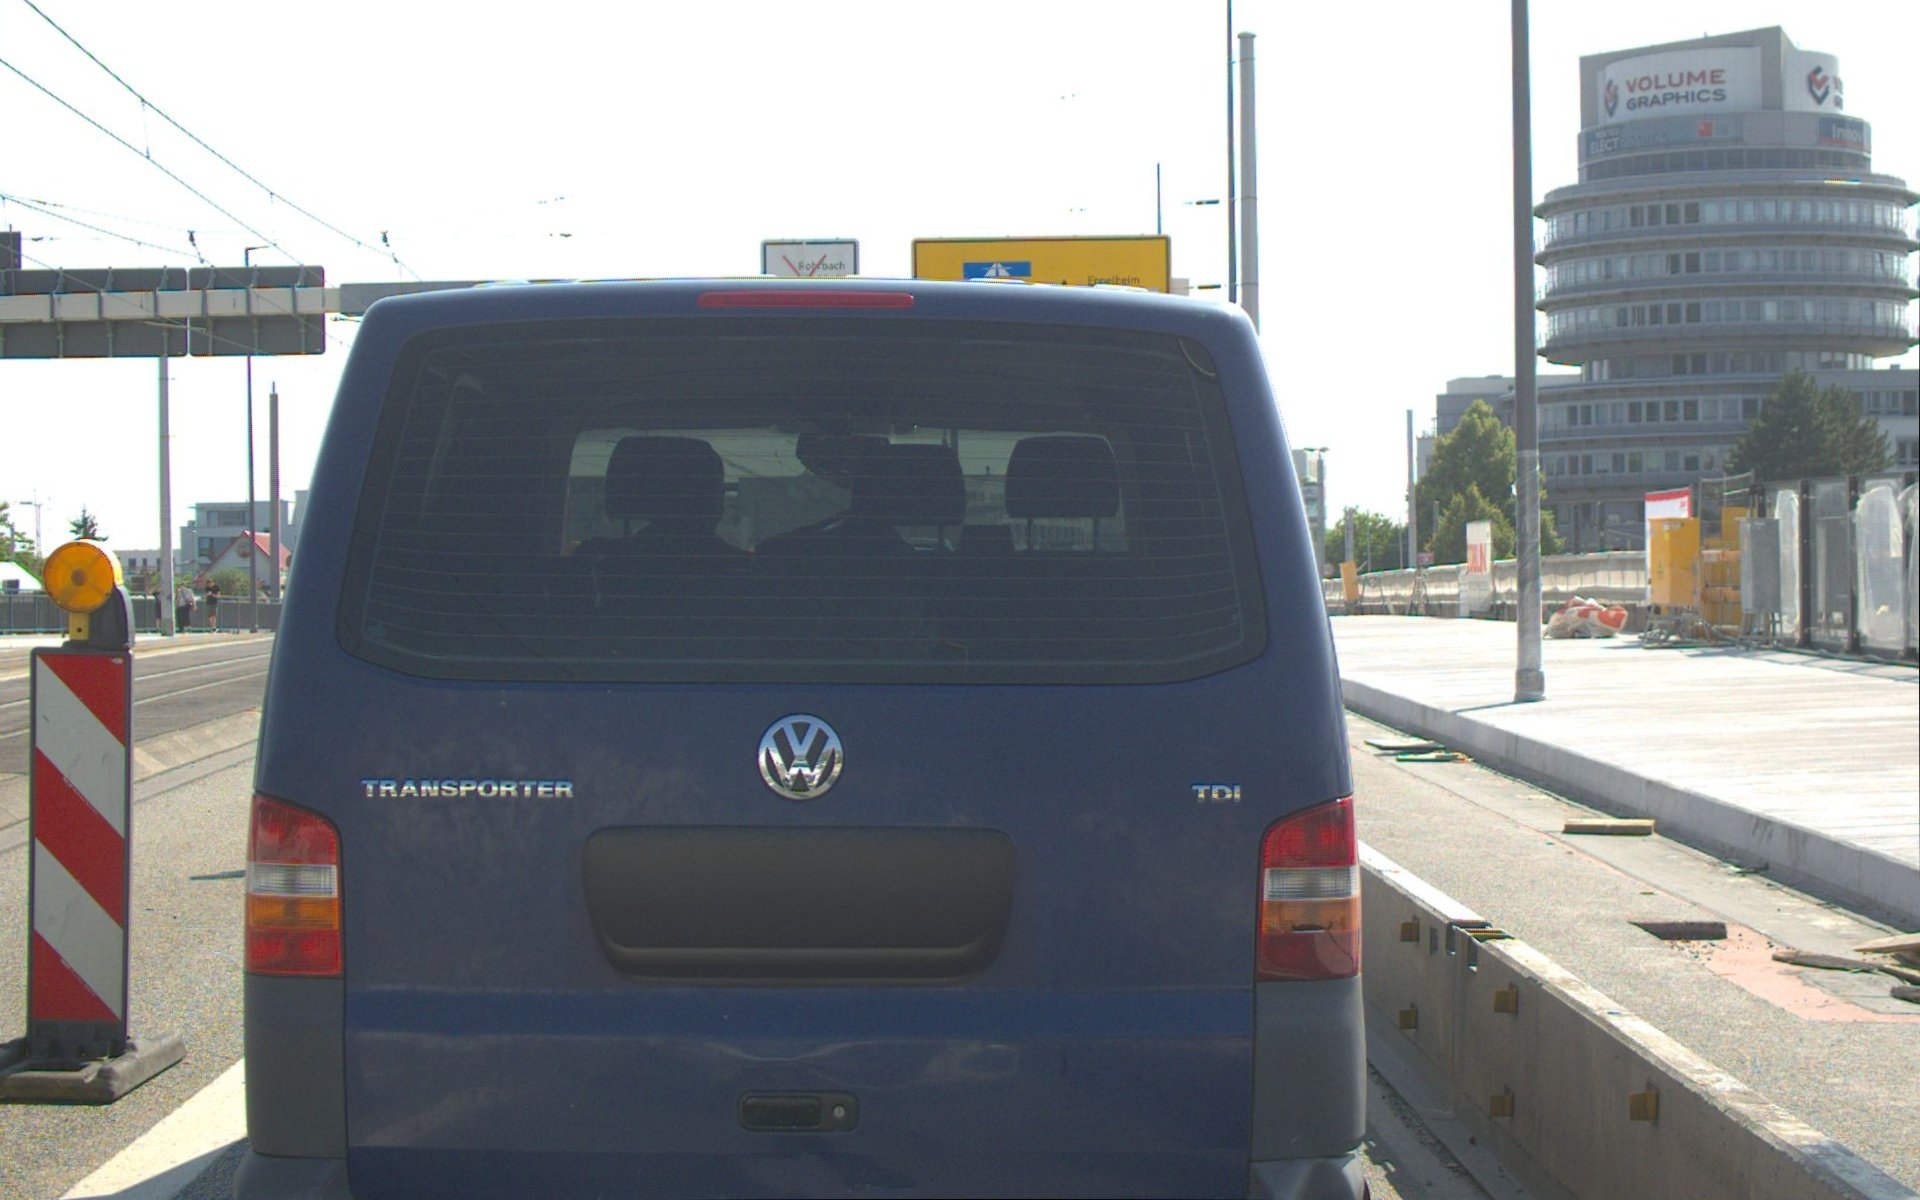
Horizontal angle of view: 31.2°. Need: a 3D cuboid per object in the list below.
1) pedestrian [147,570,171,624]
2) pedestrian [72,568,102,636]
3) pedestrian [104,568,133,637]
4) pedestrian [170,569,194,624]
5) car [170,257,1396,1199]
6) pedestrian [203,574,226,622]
[{"bbox_3d":[-26.144,-0.090,112.201,0.634,1.746,0.752,0,1,-1],"label":"pedestrian"},{"bbox_3d":[-24.256,0.055,95.547,0.634,1.887,0.752,0,1,-1],"label":"pedestrian"},{"bbox_3d":[-23.380,0.063,95.504,0.634,1.910,0.752,0,1,-1],"label":"pedestrian"},{"bbox_3d":[-25.429,-0.114,112.366,0.634,1.768,0.752,0,1,-1],"label":"pedestrian"},{"bbox_3d":[-0.272,0.410,7.140,1.815,1.899,4.054,0,1,0],"label":"car"},{"bbox_3d":[-25.094,-0.075,115.704,0.634,1.593,0.752,0,1,-1],"label":"pedestrian"}]
